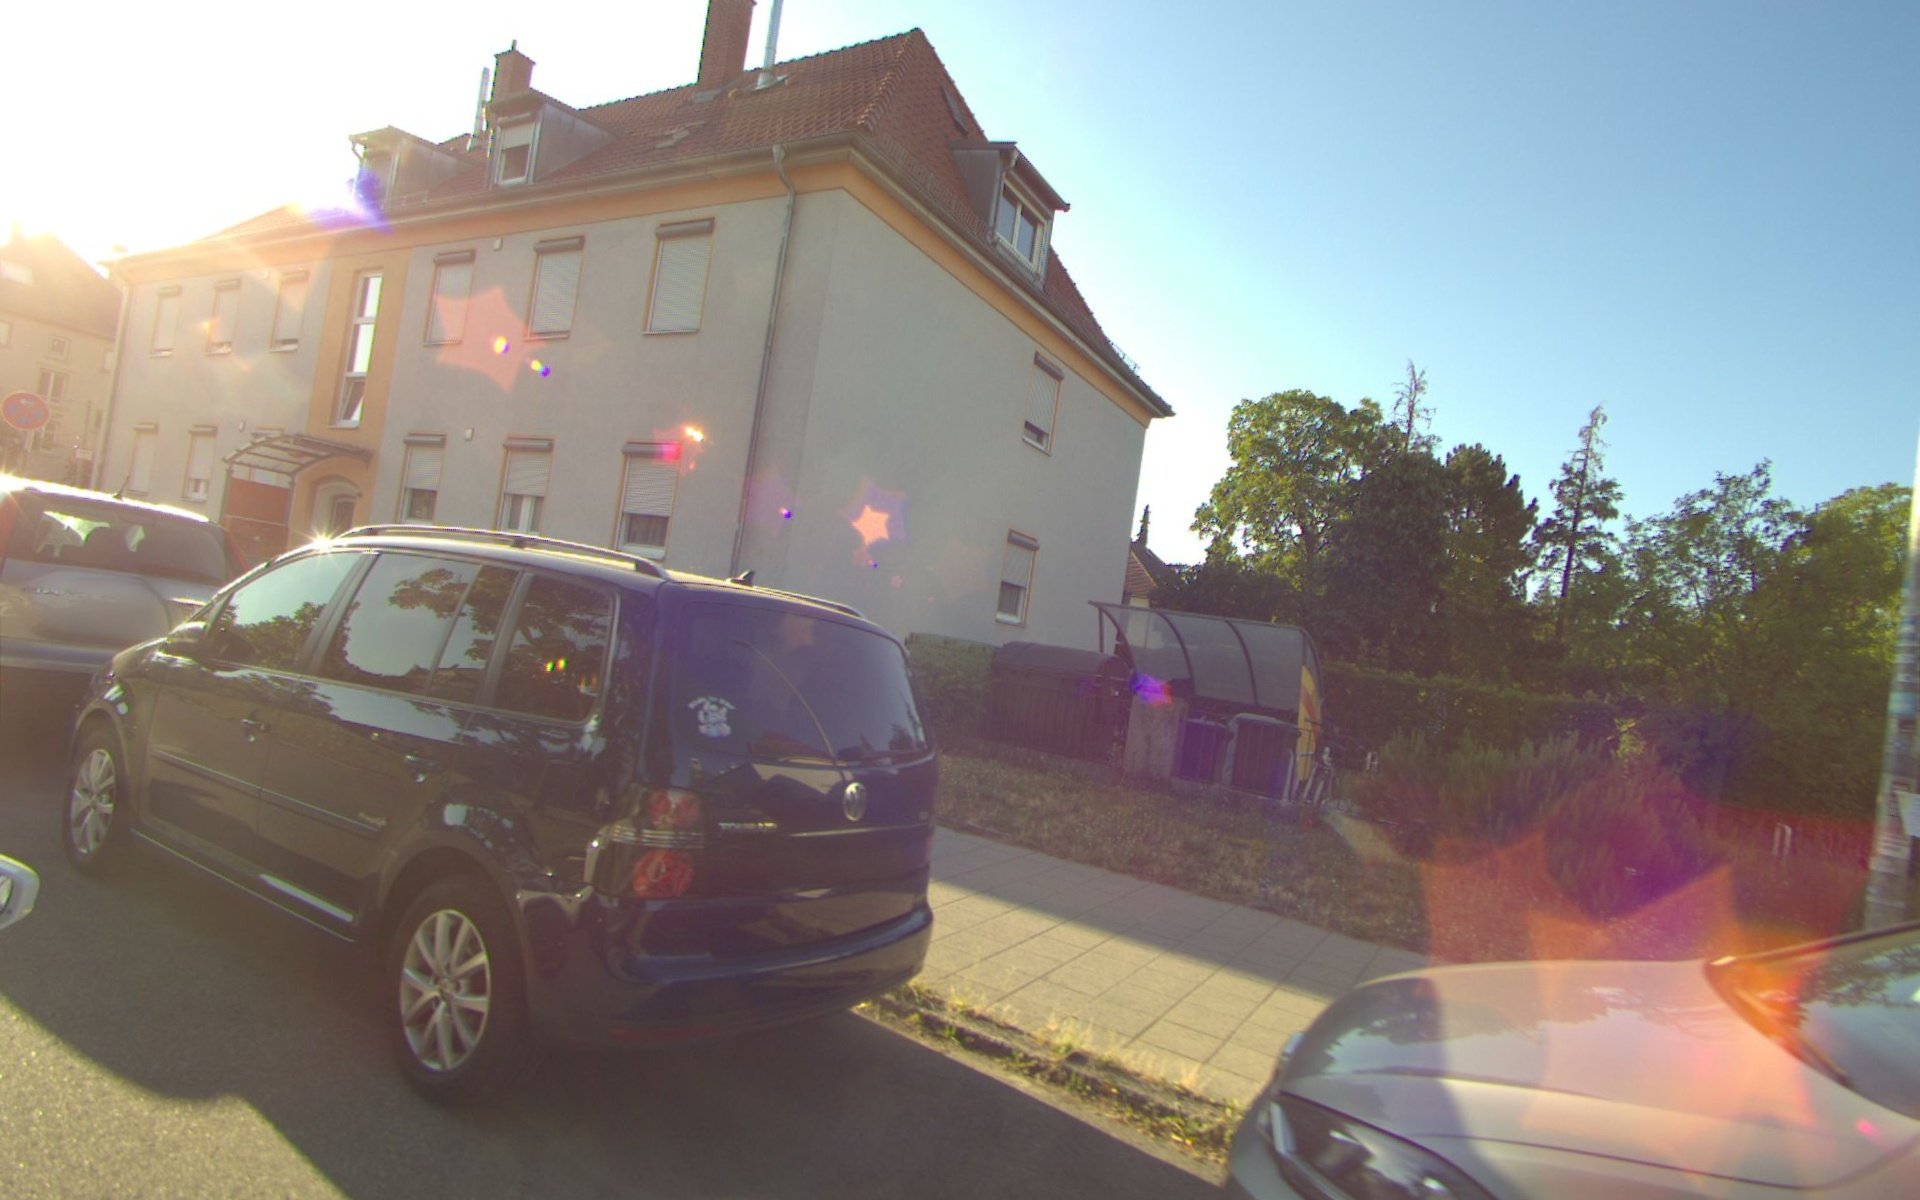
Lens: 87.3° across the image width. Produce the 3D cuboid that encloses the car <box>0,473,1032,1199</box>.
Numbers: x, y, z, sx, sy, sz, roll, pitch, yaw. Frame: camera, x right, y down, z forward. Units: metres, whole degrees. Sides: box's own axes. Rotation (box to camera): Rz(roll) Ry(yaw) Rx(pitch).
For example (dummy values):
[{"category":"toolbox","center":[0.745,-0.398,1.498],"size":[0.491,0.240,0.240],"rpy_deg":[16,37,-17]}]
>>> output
[{"category":"car","center":[-2.264,0.561,4.385],"size":[4.685,1.652,1.771],"rpy_deg":[7,-3,31]}]

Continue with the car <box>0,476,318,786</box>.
[{"category":"car","center":[-6.813,-0.008,7.136],"size":[4.677,1.662,1.781],"rpy_deg":[7,-2,31]}]

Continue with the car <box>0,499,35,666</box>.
[{"category":"car","center":[-10.874,-0.425,9.770],"size":[3.672,1.545,1.732],"rpy_deg":[8,0,31]}]

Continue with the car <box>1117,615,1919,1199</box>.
[{"category":"car","center":[2.577,1.170,1.416],"size":[4.340,1.578,1.730],"rpy_deg":[8,-2,29]}]
